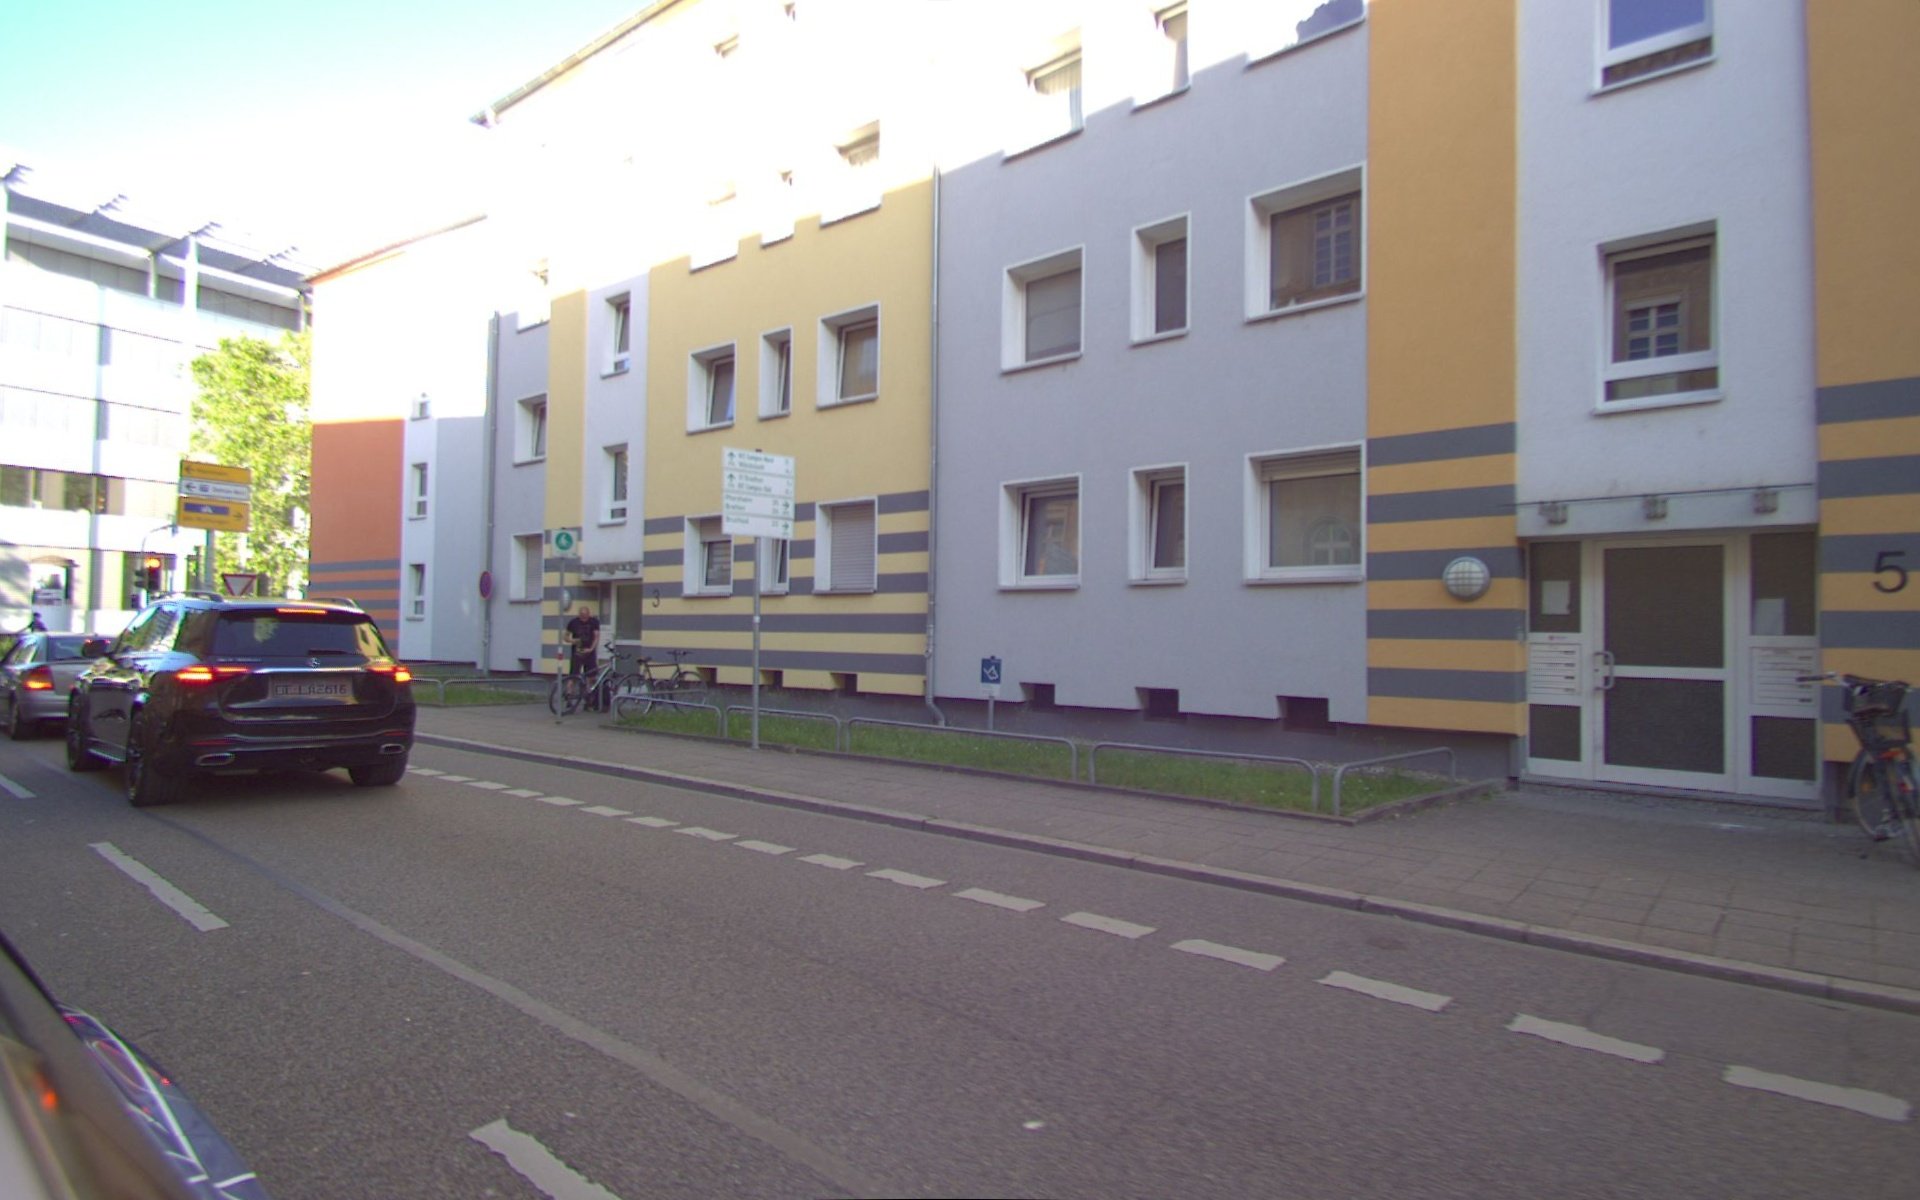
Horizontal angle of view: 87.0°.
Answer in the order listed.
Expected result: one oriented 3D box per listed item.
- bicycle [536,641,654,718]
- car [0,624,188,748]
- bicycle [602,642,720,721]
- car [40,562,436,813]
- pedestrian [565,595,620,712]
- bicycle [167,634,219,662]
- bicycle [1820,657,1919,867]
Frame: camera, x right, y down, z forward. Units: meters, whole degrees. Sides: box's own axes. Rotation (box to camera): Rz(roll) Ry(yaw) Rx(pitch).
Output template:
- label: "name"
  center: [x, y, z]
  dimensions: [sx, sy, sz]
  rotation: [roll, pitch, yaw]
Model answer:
- label: "bicycle"
  center: [-5.878, 1.250, 16.389]
  dimensions: [0.649, 1.154, 1.737]
  rotation: [-1, -2, 33]
- label: "car"
  center: [-12.548, 1.129, 14.221]
  dimensions: [4.132, 1.497, 1.723]
  rotation: [-1, -4, 39]
- label: "bicycle"
  center: [-4.621, 1.231, 15.746]
  dimensions: [0.649, 1.154, 1.737]
  rotation: [-1, -2, 33]
- label: "car"
  center: [-7.203, 0.736, 9.857]
  dimensions: [5.091, 1.849, 1.880]
  rotation: [-1, -4, 40]
- label: "pedestrian"
  center: [-6.077, 0.870, 16.717]
  dimensions: [0.709, 1.869, 0.872]
  rotation: [1, -2, -27]
- label: "bicycle"
  center: [-33.851, 2.103, 44.676]
  dimensions: [1.967, 1.191, 0.470]
  rotation: [0, -1, 3]
- label: "bicycle"
  center: [6.018, 0.960, 6.398]
  dimensions: [0.649, 1.154, 1.737]
  rotation: [-1, -2, 33]
